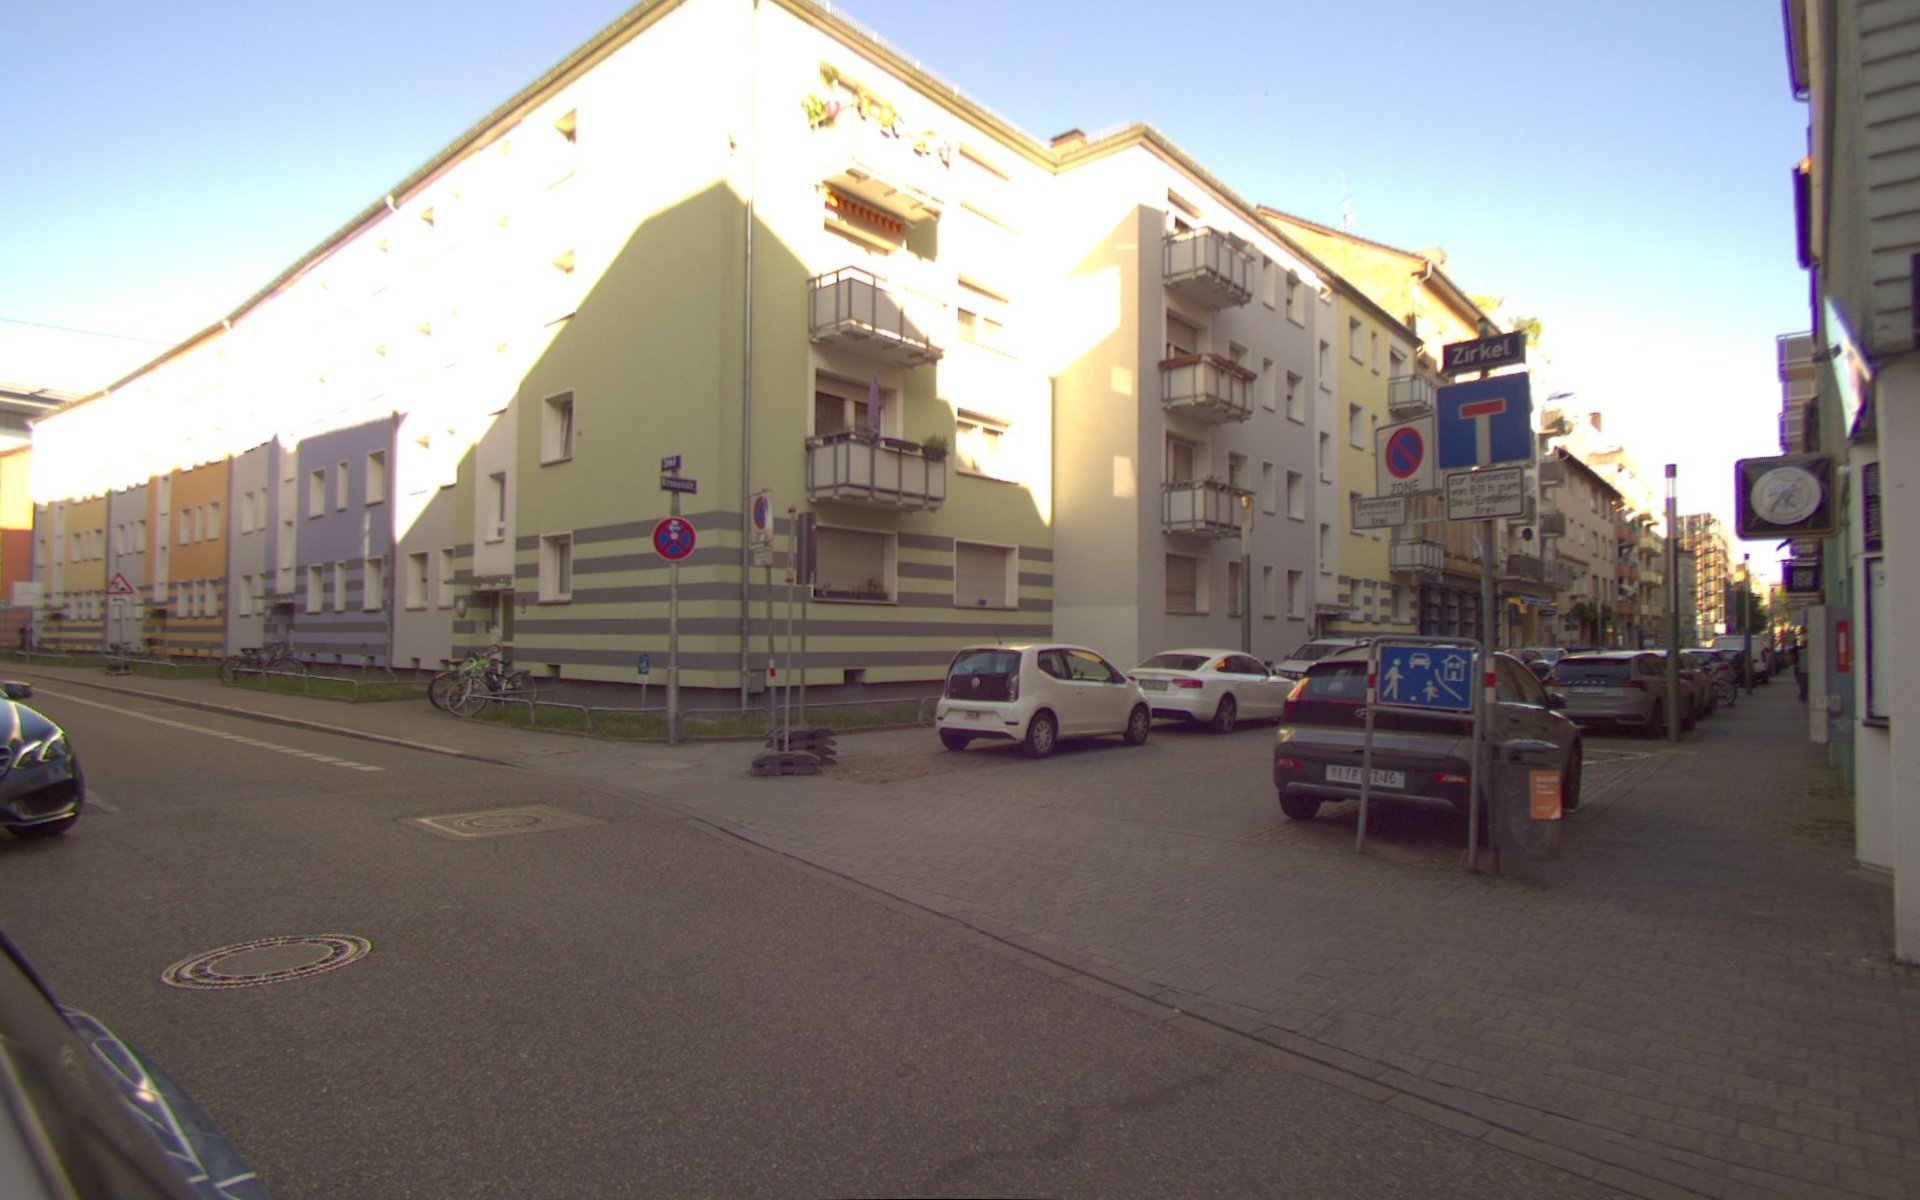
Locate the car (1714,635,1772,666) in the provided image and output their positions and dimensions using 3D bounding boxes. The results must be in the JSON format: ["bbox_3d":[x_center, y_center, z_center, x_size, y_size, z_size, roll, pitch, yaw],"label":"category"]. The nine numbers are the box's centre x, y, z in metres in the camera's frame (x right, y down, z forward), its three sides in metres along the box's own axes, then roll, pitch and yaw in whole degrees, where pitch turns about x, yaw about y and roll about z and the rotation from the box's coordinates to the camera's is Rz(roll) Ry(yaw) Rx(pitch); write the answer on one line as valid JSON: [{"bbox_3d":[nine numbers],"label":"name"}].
[{"bbox_3d":[32.417,2.084,41.963,1.783,1.196,3.045,-3,-4,36],"label":"car"}]

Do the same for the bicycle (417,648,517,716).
[{"bbox_3d":[-9.399,1.533,19.341,0.387,1.109,1.719,-2,1,34],"label":"bicycle"}]

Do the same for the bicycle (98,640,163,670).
[{"bbox_3d":[-31.446,2.079,38.384,0.653,0.990,1.786,-2,2,37],"label":"bicycle"}]

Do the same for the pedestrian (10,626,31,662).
[{"bbox_3d":[-44.560,2.079,48.017,0.447,1.663,0.605,-1,-2,35],"label":"pedestrian"}]

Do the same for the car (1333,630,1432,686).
[{"bbox_3d":[11.279,1.516,26.932,1.485,1.400,3.360,-4,-4,39],"label":"car"}]

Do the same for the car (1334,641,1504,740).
[{"bbox_3d":[8.510,1.557,18.581,1.785,1.580,4.114,-2,-3,40],"label":"car"}]

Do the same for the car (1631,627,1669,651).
[{"bbox_3d":[46.135,2.604,67.660,1.585,1.519,3.847,-2,-3,42],"label":"car"}]

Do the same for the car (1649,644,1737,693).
[{"bbox_3d":[22.932,2.104,31.620,1.787,1.419,3.436,-4,-4,43],"label":"car"}]

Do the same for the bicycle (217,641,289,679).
[{"bbox_3d":[-20.418,1.731,29.257,0.388,0.953,1.636,-2,1,41],"label":"bicycle"}]

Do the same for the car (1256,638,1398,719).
[{"bbox_3d":[8.224,1.671,22.463,1.757,1.623,4.094,-3,-4,38],"label":"car"}]

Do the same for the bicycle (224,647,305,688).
[{"bbox_3d":[-19.266,1.854,28.046,0.388,0.953,1.780,-2,1,41],"label":"bicycle"}]

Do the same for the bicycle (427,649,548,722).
[{"bbox_3d":[-8.480,1.503,18.211,0.749,1.109,1.797,-2,1,41],"label":"bicycle"}]

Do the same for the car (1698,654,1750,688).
[{"bbox_3d":[29.153,2.687,38.653,1.468,1.196,3.045,-3,-4,36],"label":"car"}]

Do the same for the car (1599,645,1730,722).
[{"bbox_3d":[15.504,1.770,22.190,1.787,1.493,3.858,-4,-4,43],"label":"car"}]

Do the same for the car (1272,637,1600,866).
[{"bbox_3d":[4.346,1.100,8.923,1.691,1.531,3.892,-2,-3,40],"label":"car"}]

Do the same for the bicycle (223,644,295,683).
[{"bbox_3d":[-20.084,1.808,29.021,0.388,0.953,1.636,-2,1,41],"label":"bicycle"}]

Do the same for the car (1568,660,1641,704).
[{"bbox_3d":[23.008,2.882,36.064,1.585,1.392,3.847,-2,-3,42],"label":"car"}]

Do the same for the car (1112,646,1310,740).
[{"bbox_3d":[4.574,1.559,18.024,1.758,1.408,4.271,-1,-2,40],"label":"car"}]

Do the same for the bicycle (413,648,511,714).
[{"bbox_3d":[-9.650,1.544,19.669,0.387,1.109,1.719,-2,1,34],"label":"bicycle"}]

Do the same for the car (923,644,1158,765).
[{"bbox_3d":[1.212,1.355,14.215,1.724,1.448,3.300,-2,-3,40],"label":"car"}]

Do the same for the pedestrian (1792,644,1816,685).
[{"bbox_3d":[34.423,2.615,41.265,0.689,1.593,0.628,-2,0,38],"label":"pedestrian"}]

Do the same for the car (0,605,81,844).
[{"bbox_3d":[-8.296,0.915,7.214,4.655,1.490,1.767,-3,1,32],"label":"car"}]

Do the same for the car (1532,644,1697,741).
[{"bbox_3d":[11.762,1.575,18.092,1.787,1.493,3.858,-4,-4,43],"label":"car"}]

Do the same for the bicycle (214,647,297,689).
[{"bbox_3d":[-18.986,1.820,27.312,0.388,0.953,1.780,-2,1,41],"label":"bicycle"}]
